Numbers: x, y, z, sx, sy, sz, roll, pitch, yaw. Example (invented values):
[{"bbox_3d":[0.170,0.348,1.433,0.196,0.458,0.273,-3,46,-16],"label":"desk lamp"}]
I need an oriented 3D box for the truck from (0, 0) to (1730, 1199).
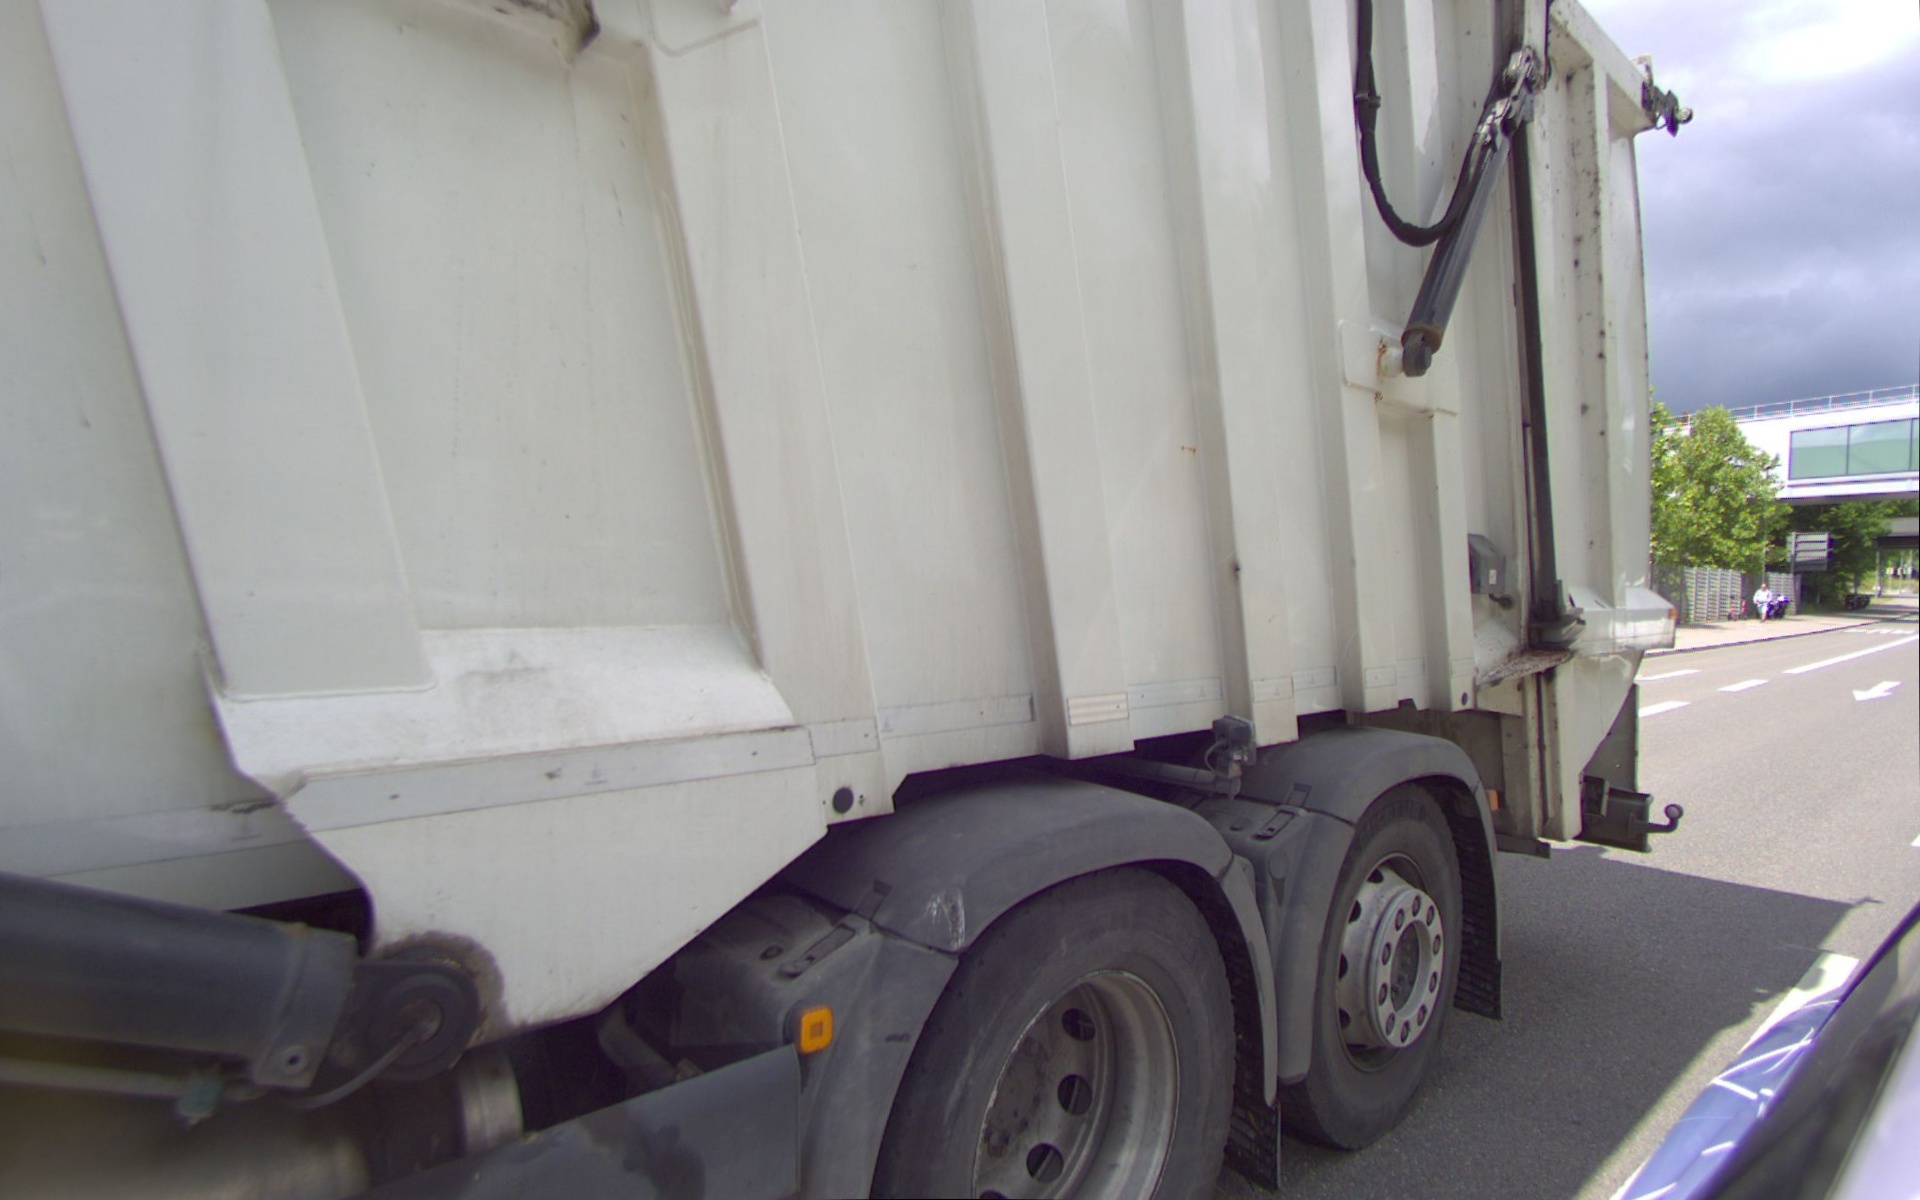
[{"bbox_3d":[-0.866,-0.663,2.423,9.999,3.962,2.492,-1,0,-42],"label":"truck"}]

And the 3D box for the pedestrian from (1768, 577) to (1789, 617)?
[{"bbox_3d":[40.199,-0.150,49.710,0.737,1.936,0.648,0,0,44],"label":"pedestrian"}]
